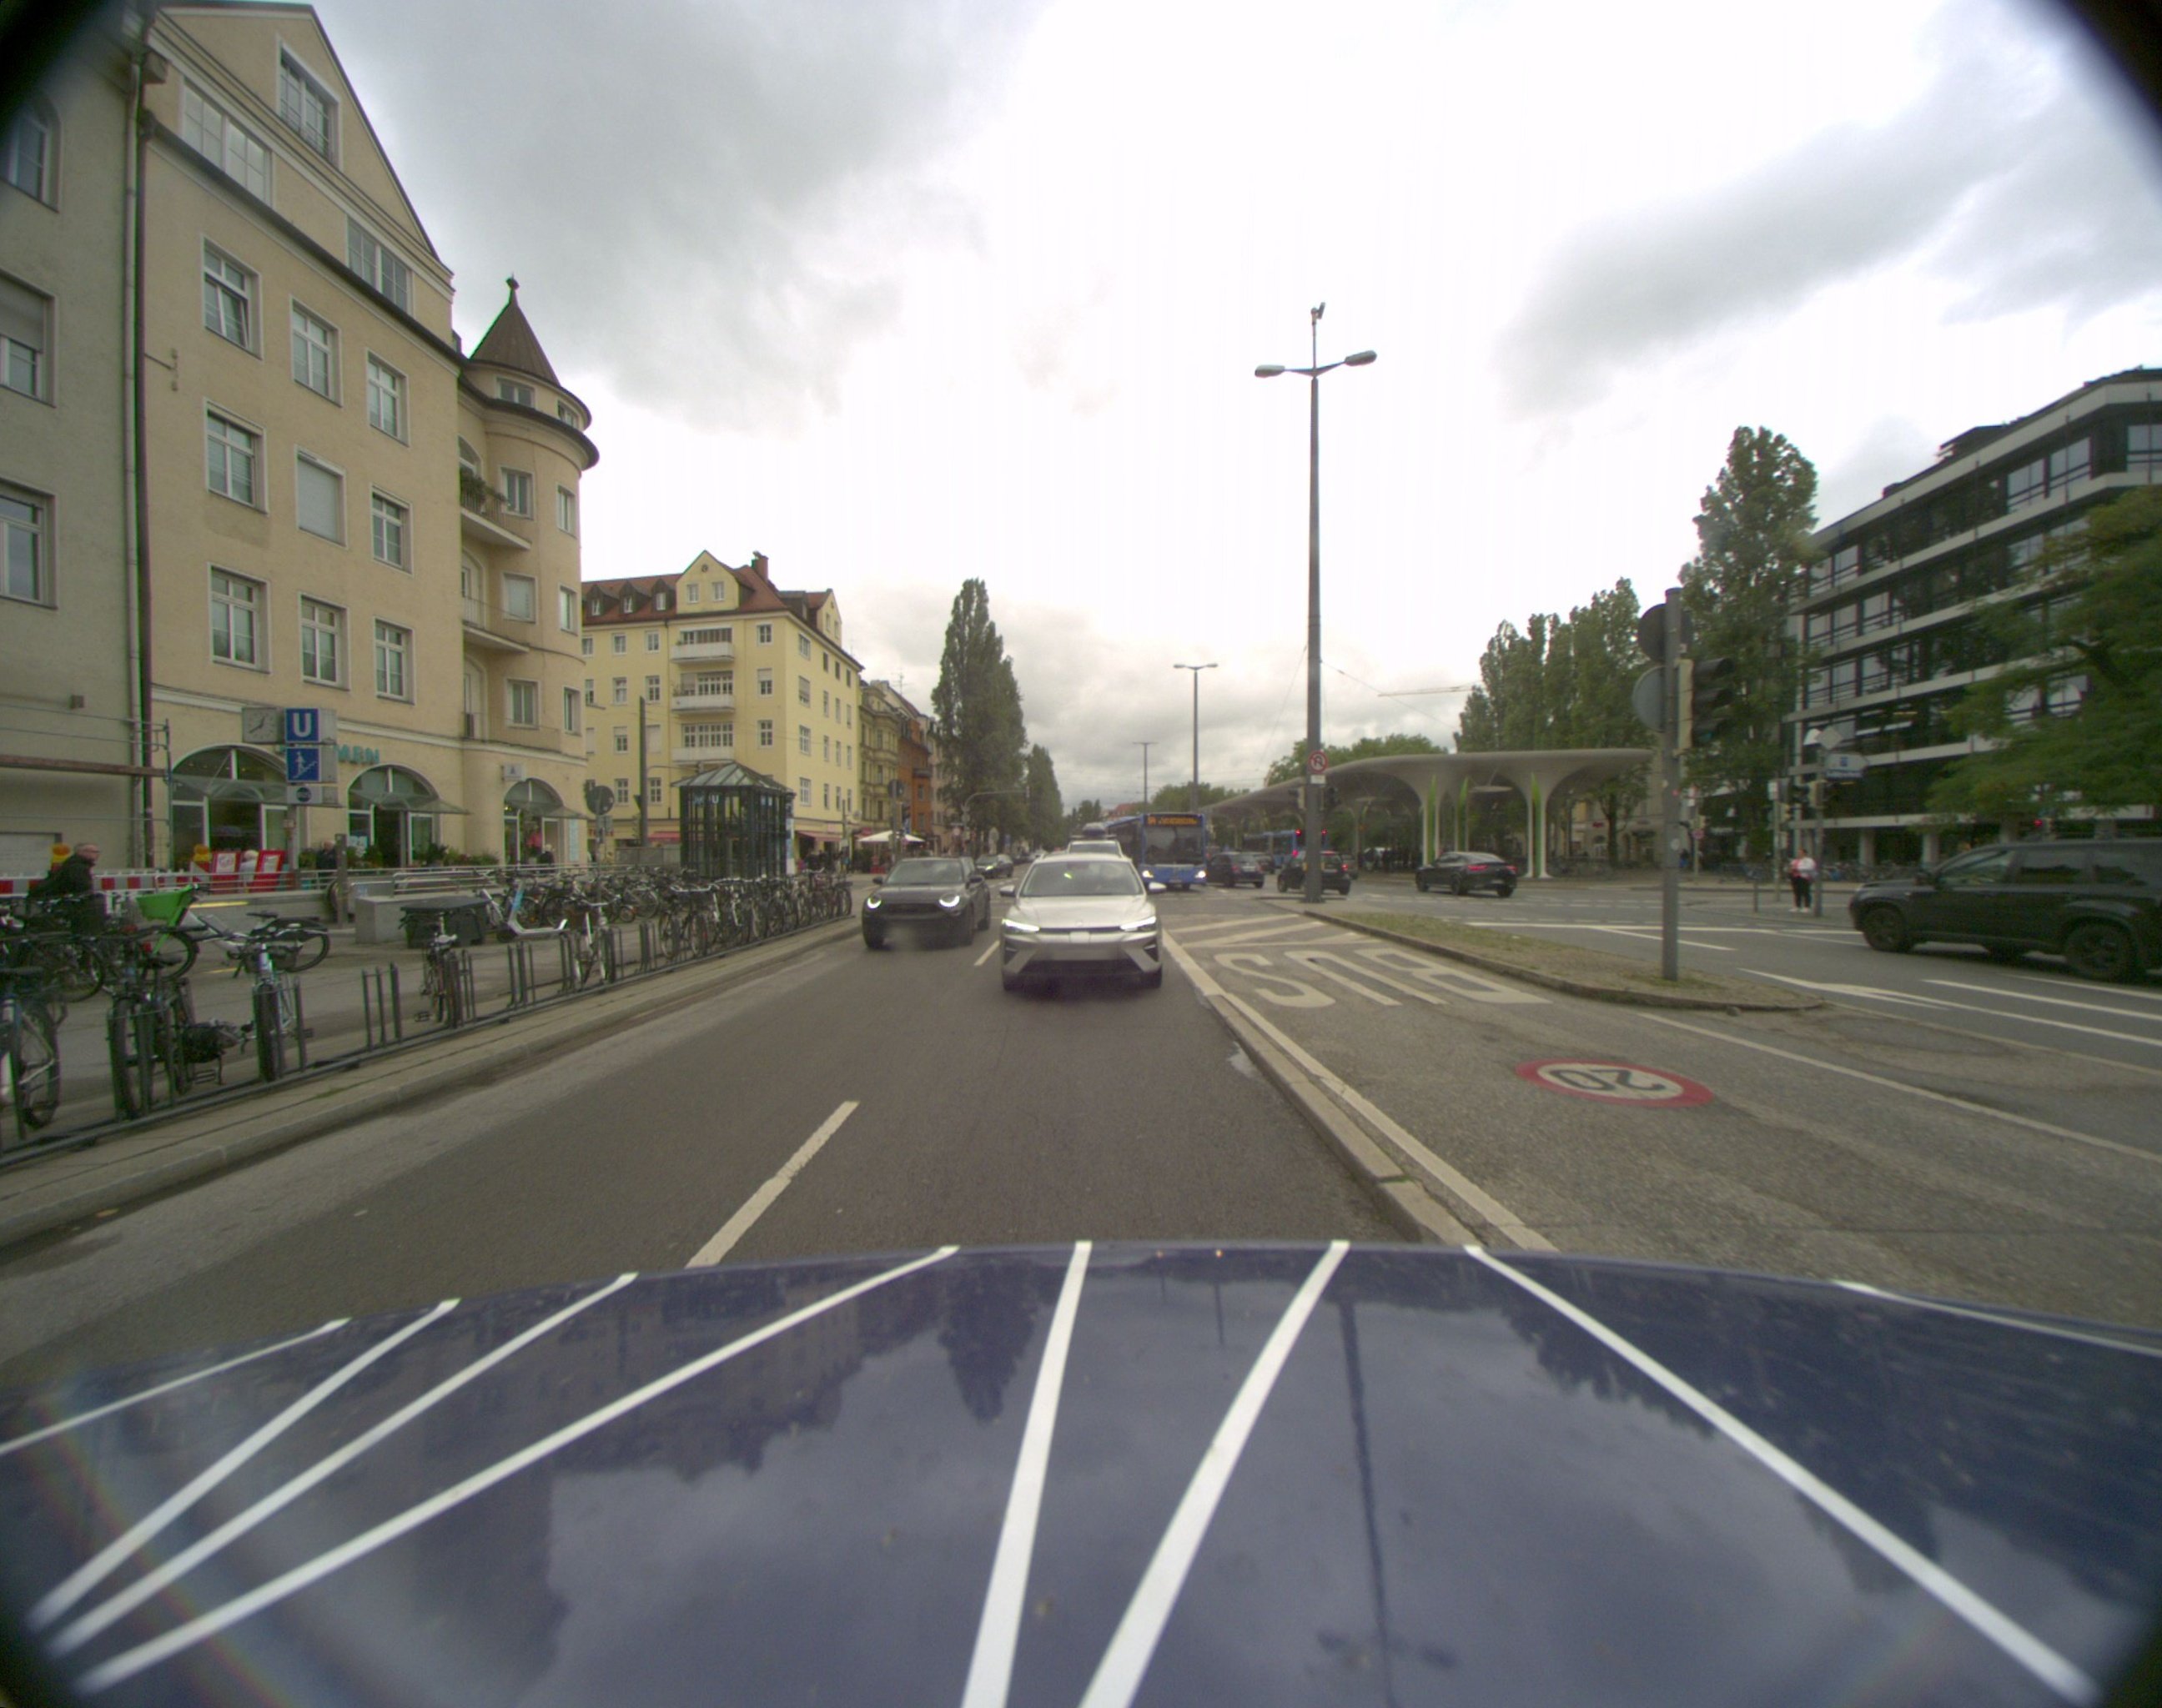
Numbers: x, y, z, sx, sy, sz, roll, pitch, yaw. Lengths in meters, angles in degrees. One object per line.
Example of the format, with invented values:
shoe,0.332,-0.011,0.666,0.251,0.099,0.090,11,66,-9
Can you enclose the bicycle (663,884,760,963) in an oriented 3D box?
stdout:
bicycle,-5.894,1.066,12.079,1.790,1.131,0.591,-1,2,37

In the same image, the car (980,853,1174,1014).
car,0.025,0.797,9.576,1.896,1.483,3.999,-2,1,2

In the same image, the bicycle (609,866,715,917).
bicycle,-10.354,0.906,18.803,2.317,1.220,0.628,0,1,3

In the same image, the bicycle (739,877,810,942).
bicycle,-5.797,1.014,14.342,1.673,1.131,0.479,-1,2,40

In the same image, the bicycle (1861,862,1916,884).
bicycle,41.517,0.962,39.085,2.073,1.127,0.561,0,1,7

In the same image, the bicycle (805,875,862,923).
bicycle,-5.835,1.063,17.849,1.848,1.053,0.398,-4,-1,44

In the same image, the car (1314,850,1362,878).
car,14.199,0.516,42.077,1.674,1.506,2.746,0,1,-1

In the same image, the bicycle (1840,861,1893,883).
bicycle,41.620,0.934,40.271,2.073,1.127,0.561,0,1,7

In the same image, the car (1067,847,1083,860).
car,-0.763,-0.098,96.239,1.999,1.630,3.999,0,1,-1

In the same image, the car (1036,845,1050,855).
car,-6.150,-0.645,123.616,1.998,1.630,4.000,0,1,1

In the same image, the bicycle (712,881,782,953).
bicycle,-5.660,1.042,12.848,1.521,1.131,0.349,-1,2,37

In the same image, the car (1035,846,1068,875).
car,-1.959,0.408,51.805,1.998,1.740,3.999,-2,1,1

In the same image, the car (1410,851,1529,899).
car,14.079,0.695,27.912,1.998,1.567,4.616,0,1,0

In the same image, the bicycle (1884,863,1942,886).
bicycle,41.366,0.994,37.807,2.073,1.127,0.561,0,1,7

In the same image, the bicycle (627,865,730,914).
bicycle,-10.285,0.890,19.435,2.317,1.220,0.628,0,1,3

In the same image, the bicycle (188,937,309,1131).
bicycle,-5.717,1.149,5.278,0.398,1.053,1.848,-3,-1,-44

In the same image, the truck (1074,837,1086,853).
truck,-0.191,-1.979,170.354,2.540,3.468,7.751,0,1,1

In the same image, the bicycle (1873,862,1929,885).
bicycle,41.452,0.978,38.418,2.073,1.127,0.561,0,1,7

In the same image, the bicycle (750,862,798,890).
bicycle,-12.730,0.905,31.466,1.822,1.121,0.610,0,0,13

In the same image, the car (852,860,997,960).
car,-2.671,0.890,13.899,1.740,1.462,4.050,-1,1,1

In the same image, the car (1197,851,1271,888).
car,6.438,0.634,32.325,1.630,1.471,3.383,1,0,-18

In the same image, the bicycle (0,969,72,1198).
bicycle,-5.716,1.184,3.846,0.398,1.053,1.848,-3,-1,-44

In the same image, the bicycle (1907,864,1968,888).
bicycle,41.134,1.028,36.512,2.073,1.127,0.561,0,1,7

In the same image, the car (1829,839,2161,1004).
car,12.826,0.706,9.894,1.997,1.767,4.601,0,1,7

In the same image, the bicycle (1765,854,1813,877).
bicycle,34.803,0.569,37.384,0.473,1.091,1.672,-1,1,-23

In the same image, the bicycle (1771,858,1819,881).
bicycle,35.606,0.741,37.901,0.474,1.091,1.671,-1,1,-33

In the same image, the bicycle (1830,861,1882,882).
bicycle,41.690,0.919,40.882,2.073,1.127,0.561,0,1,7

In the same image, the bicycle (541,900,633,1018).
bicycle,-5.655,1.131,8.658,0.490,1.131,1.790,-3,2,-45

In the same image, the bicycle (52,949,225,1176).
bicycle,-5.729,1.165,4.693,0.398,1.053,1.848,-3,-1,-44

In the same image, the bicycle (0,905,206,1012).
bicycle,-10.501,1.112,8.180,1.655,1.071,0.410,1,1,0

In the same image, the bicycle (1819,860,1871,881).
bicycle,41.724,0.905,41.501,2.073,1.127,0.561,0,1,7

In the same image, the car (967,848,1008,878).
car,-5.688,0.521,46.509,1.854,1.615,3.999,-1,1,1

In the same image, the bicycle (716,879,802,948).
bicycle,-5.725,1.030,13.482,1.673,1.131,0.479,-1,1,31

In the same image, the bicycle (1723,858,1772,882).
bicycle,30.869,0.735,35.226,0.473,1.091,1.672,-1,1,-23

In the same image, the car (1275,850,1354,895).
car,8.351,0.624,27.327,1.562,1.498,2.785,-1,1,-12

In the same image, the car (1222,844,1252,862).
car,13.974,-0.099,68.126,1.932,1.576,4.000,0,1,1

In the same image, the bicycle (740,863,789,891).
bicycle,-12.833,0.922,30.820,1.822,1.121,0.610,0,0,13

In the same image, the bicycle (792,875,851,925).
bicycle,-5.891,1.053,17.165,1.848,1.053,0.398,-4,-1,44

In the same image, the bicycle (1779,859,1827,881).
bicycle,36.668,0.810,38.613,0.474,1.091,1.671,-1,1,-33

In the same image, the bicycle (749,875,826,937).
bicycle,-5.827,1.000,15.051,1.780,1.131,0.479,-1,2,35

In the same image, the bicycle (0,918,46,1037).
bicycle,-10.787,1.144,7.099,1.625,1.071,0.410,1,1,0

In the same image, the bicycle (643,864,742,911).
bicycle,-10.270,0.876,20.099,2.317,1.220,0.628,0,1,3

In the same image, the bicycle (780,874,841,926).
bicycle,-5.846,1.005,16.354,1.848,1.053,0.398,-4,-1,44

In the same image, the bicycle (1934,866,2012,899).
bicycle,28.920,0.918,24.677,0.510,0.992,1.751,0,1,2

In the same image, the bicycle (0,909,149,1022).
bicycle,-10.554,1.123,7.728,1.605,1.071,0.410,1,1,0

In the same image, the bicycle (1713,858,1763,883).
bicycle,30.135,0.765,34.885,0.473,1.091,1.672,-1,1,-23

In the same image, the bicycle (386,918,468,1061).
bicycle,-5.746,1.106,6.641,0.398,1.053,1.848,-3,-1,-44

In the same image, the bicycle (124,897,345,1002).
bicycle,-10.232,1.111,9.269,0.409,1.071,1.765,2,2,41

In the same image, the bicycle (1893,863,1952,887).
bicycle,41.187,1.012,37.220,2.073,1.127,0.561,0,1,7

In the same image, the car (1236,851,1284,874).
car,11.614,0.499,49.542,1.999,1.408,4.614,0,1,0

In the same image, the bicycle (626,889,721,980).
bicycle,-5.770,1.091,10.713,1.790,1.131,0.490,-1,2,39

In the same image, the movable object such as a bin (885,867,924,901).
movable object such as a bin,-5.801,0.987,25.015,1.089,1.056,0.747,1,2,-2

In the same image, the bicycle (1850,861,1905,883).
bicycle,41.571,0.948,39.668,2.073,1.127,0.561,0,1,7

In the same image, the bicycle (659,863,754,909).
bicycle,-10.237,0.860,20.816,2.317,1.220,0.628,0,1,3

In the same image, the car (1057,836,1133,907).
car,0.433,0.440,22.844,1.998,1.889,4.235,-2,1,1
